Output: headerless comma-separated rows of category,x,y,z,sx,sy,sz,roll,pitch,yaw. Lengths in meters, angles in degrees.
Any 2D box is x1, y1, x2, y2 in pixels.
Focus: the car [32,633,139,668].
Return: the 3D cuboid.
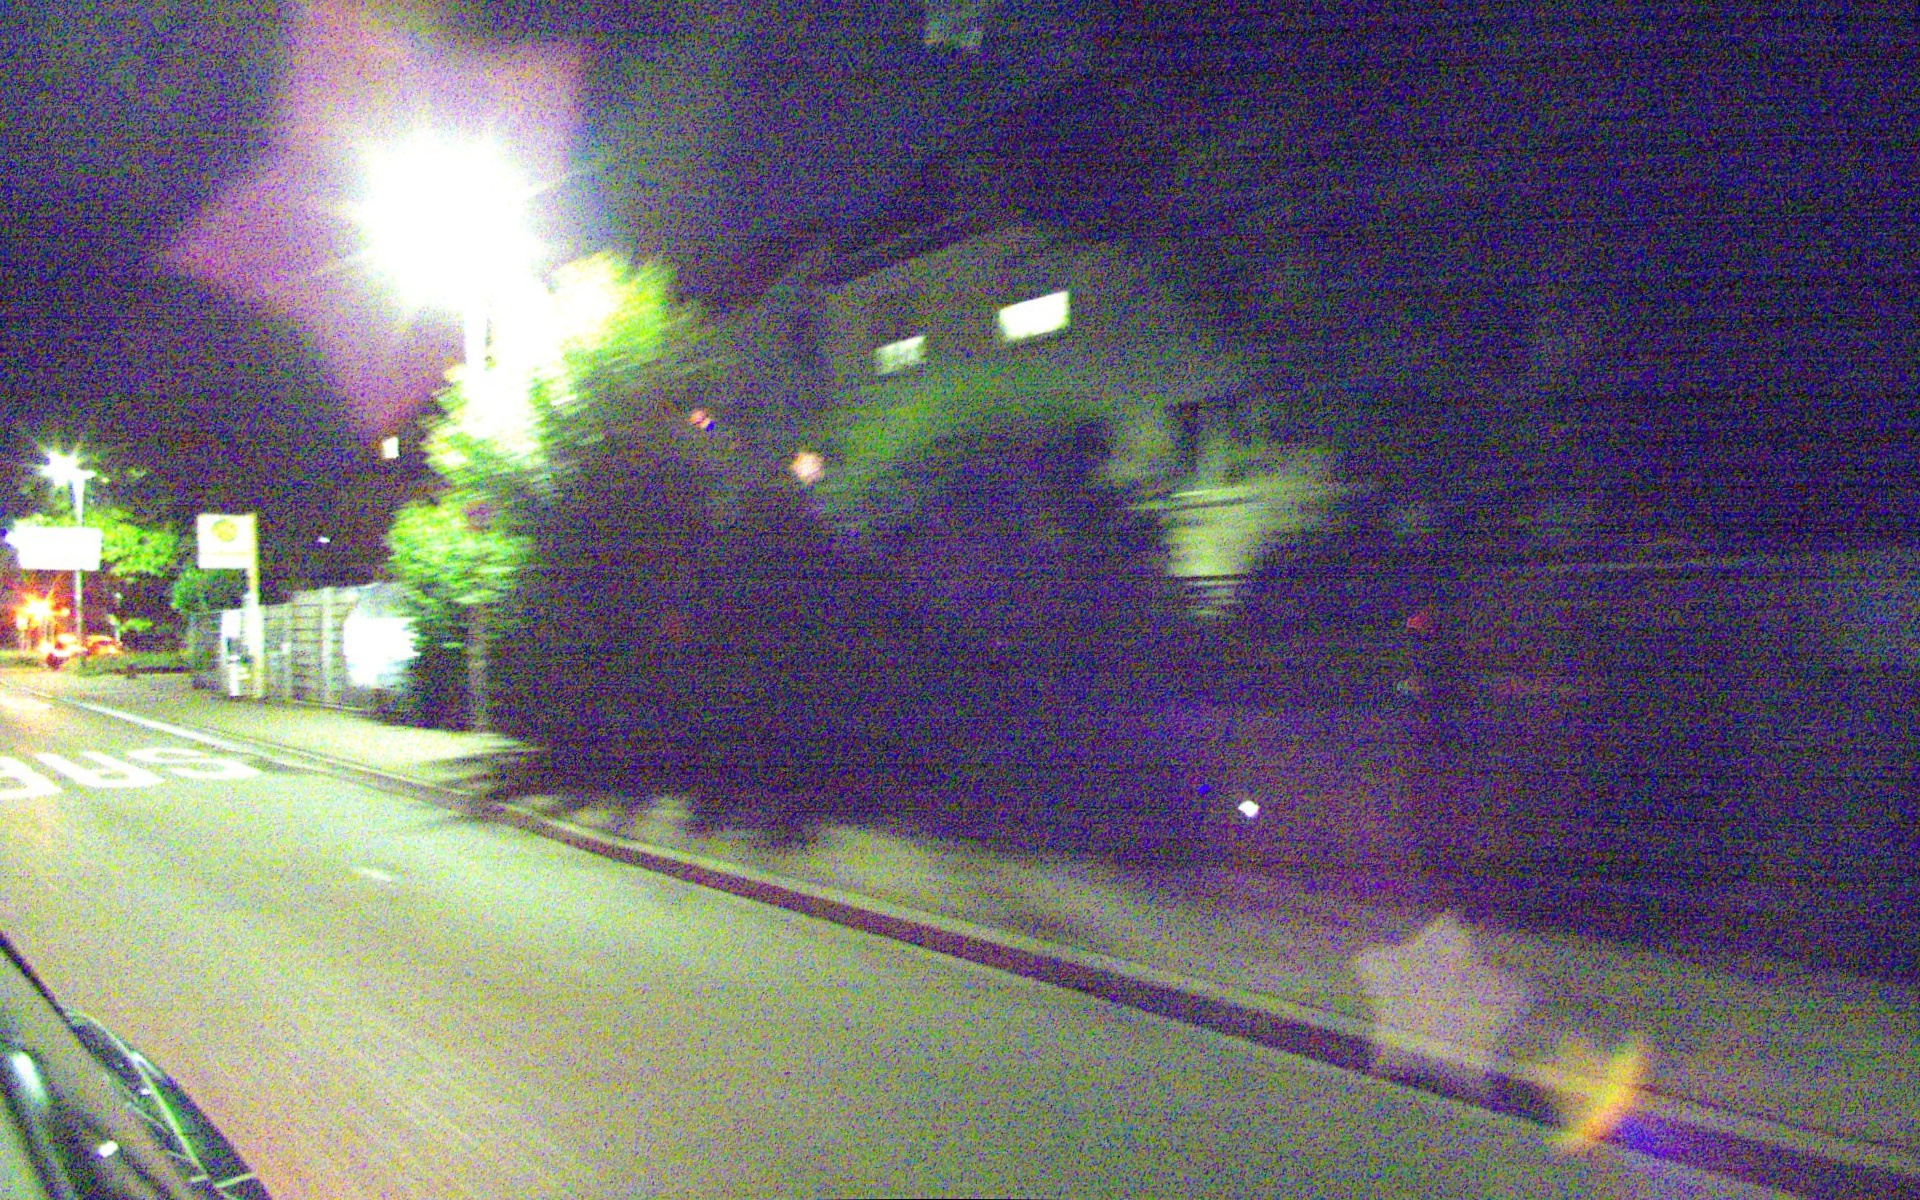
car,-38.772,2.250,45.015,1.703,1.441,4.300,0,-3,-12
